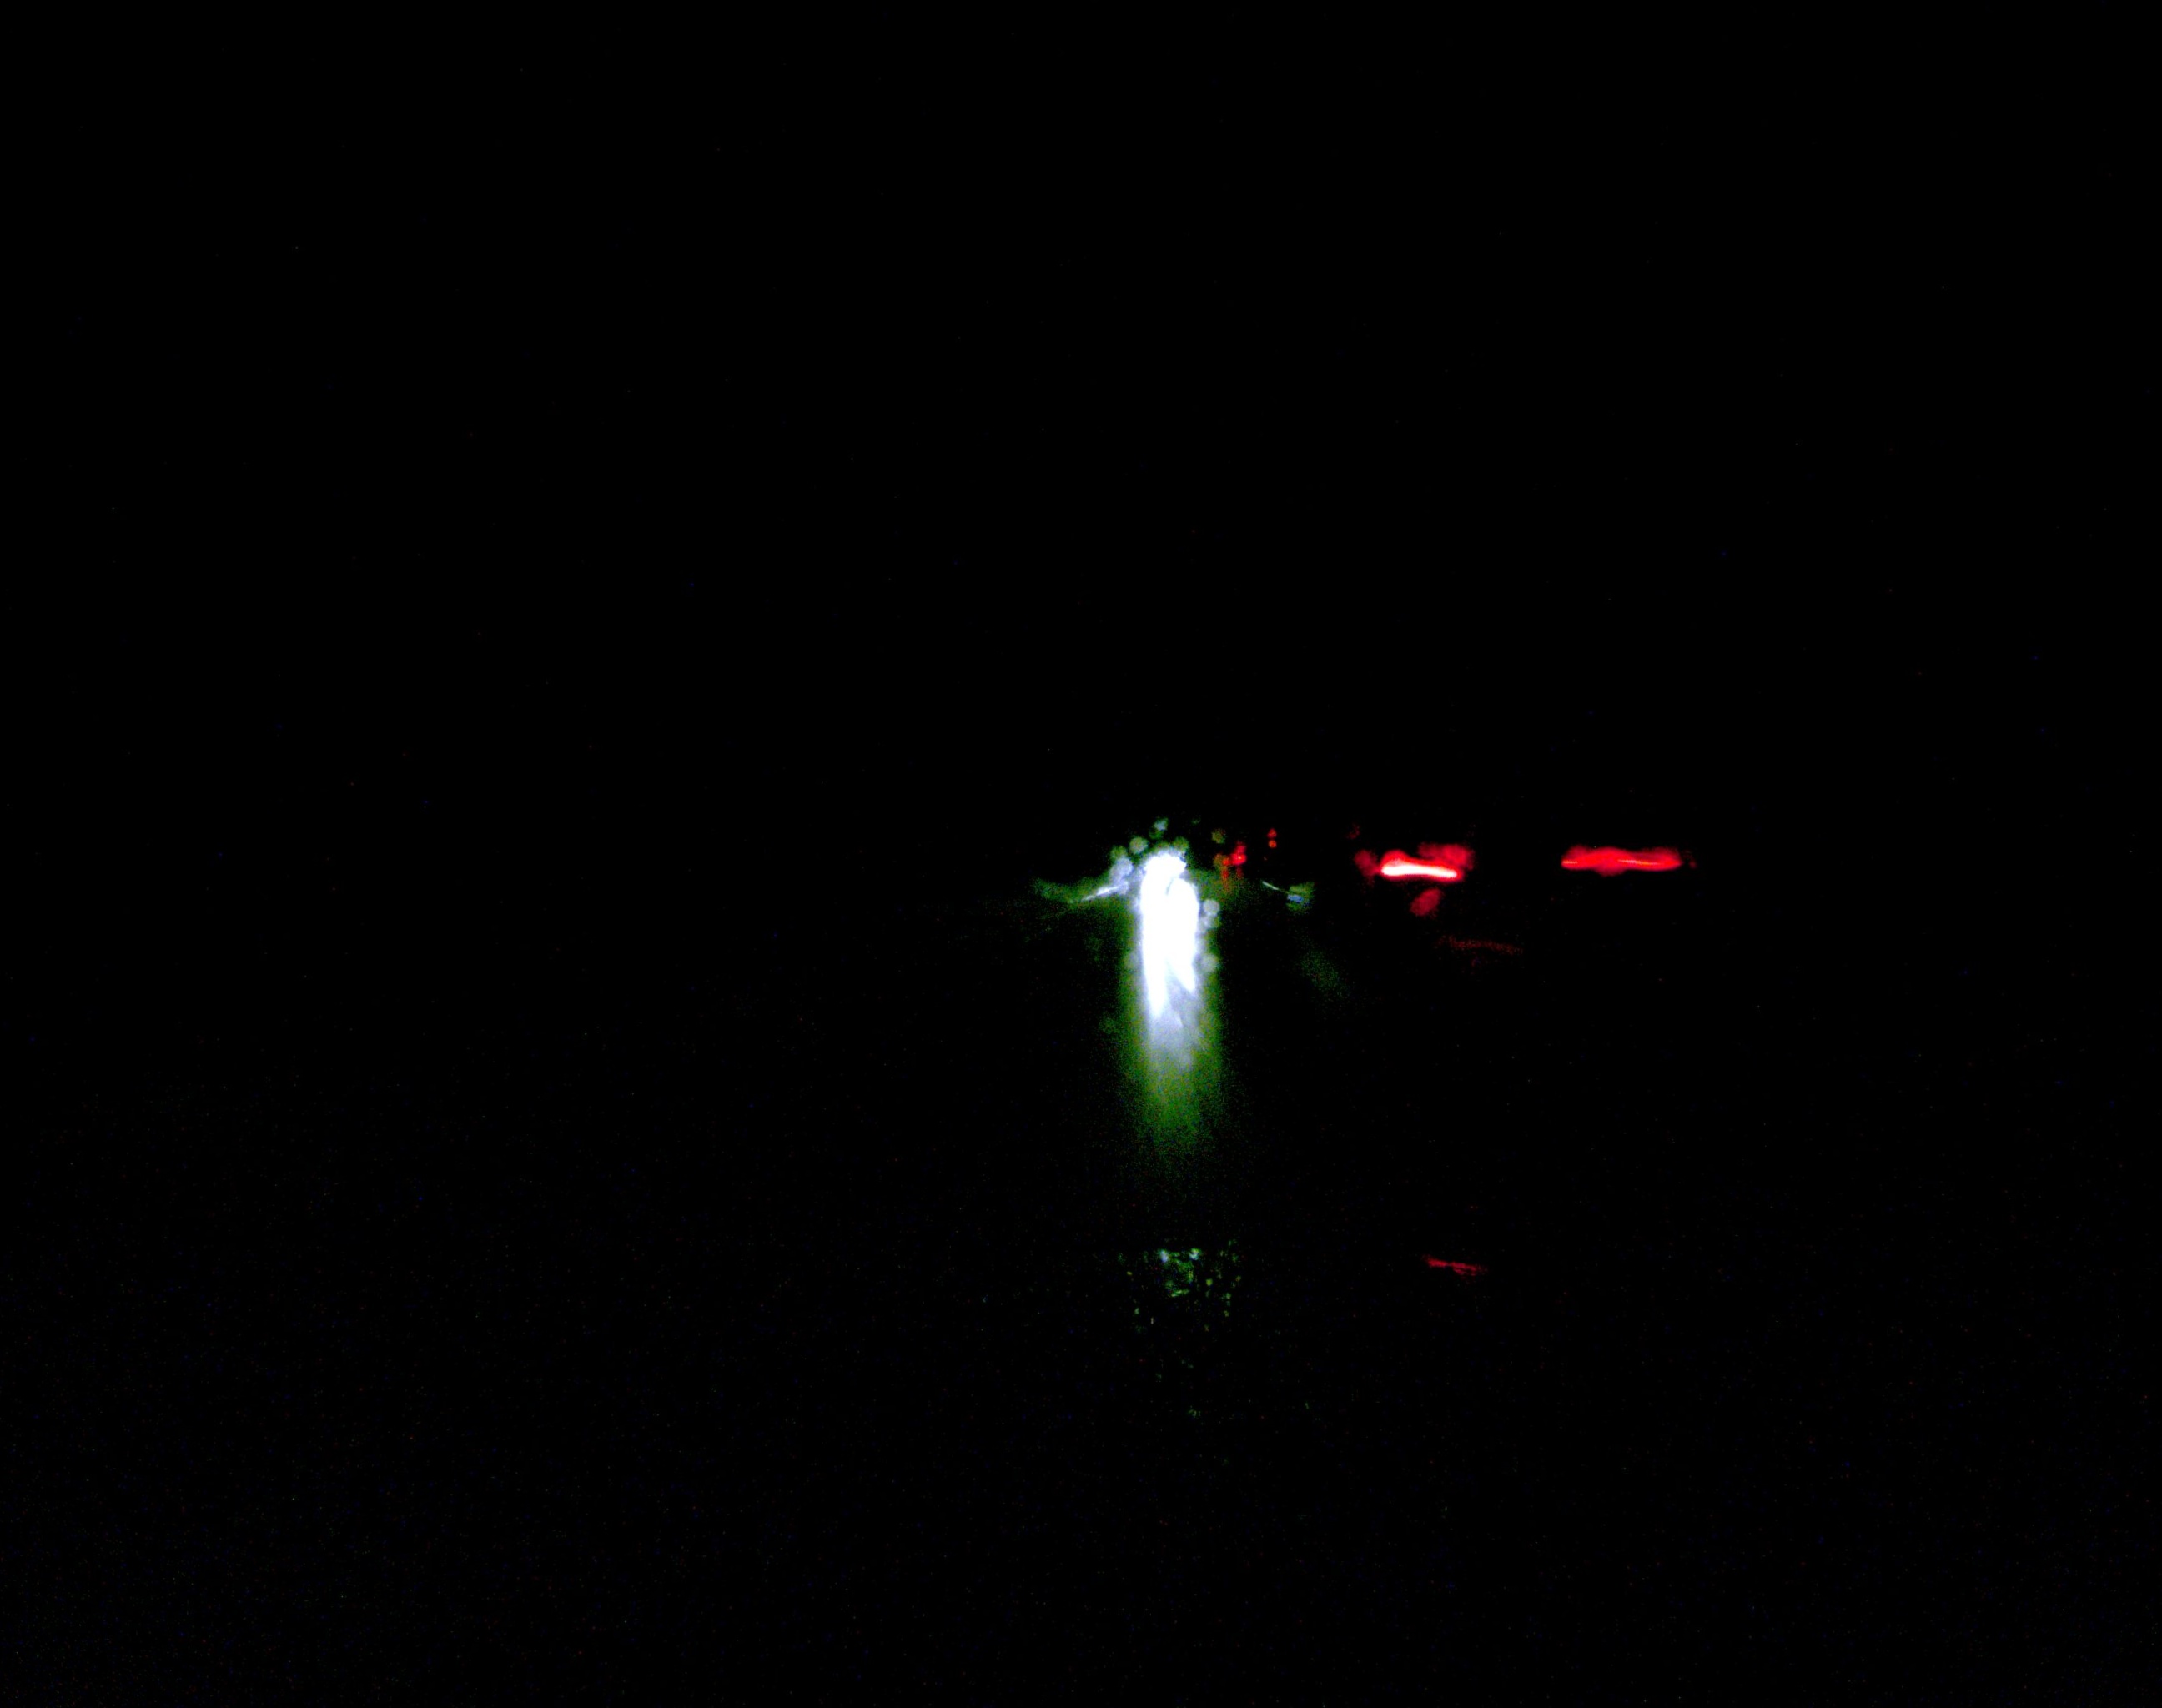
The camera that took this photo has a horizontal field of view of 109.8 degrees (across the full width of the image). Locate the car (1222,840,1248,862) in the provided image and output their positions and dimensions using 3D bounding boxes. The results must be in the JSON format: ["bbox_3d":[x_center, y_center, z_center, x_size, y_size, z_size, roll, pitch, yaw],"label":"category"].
[{"bbox_3d":[13.741,-0.258,67.964,1.980,1.768,4.002,-4,1,10],"label":"car"}]

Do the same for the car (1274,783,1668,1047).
[{"bbox_3d":[3.761,0.476,8.563,1.923,2.045,4.887,-3,1,1],"label":"car"}]

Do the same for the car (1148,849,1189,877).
[{"bbox_3d":[5.217,0.502,44.877,1.997,1.412,4.003,-4,0,11],"label":"car"}]
